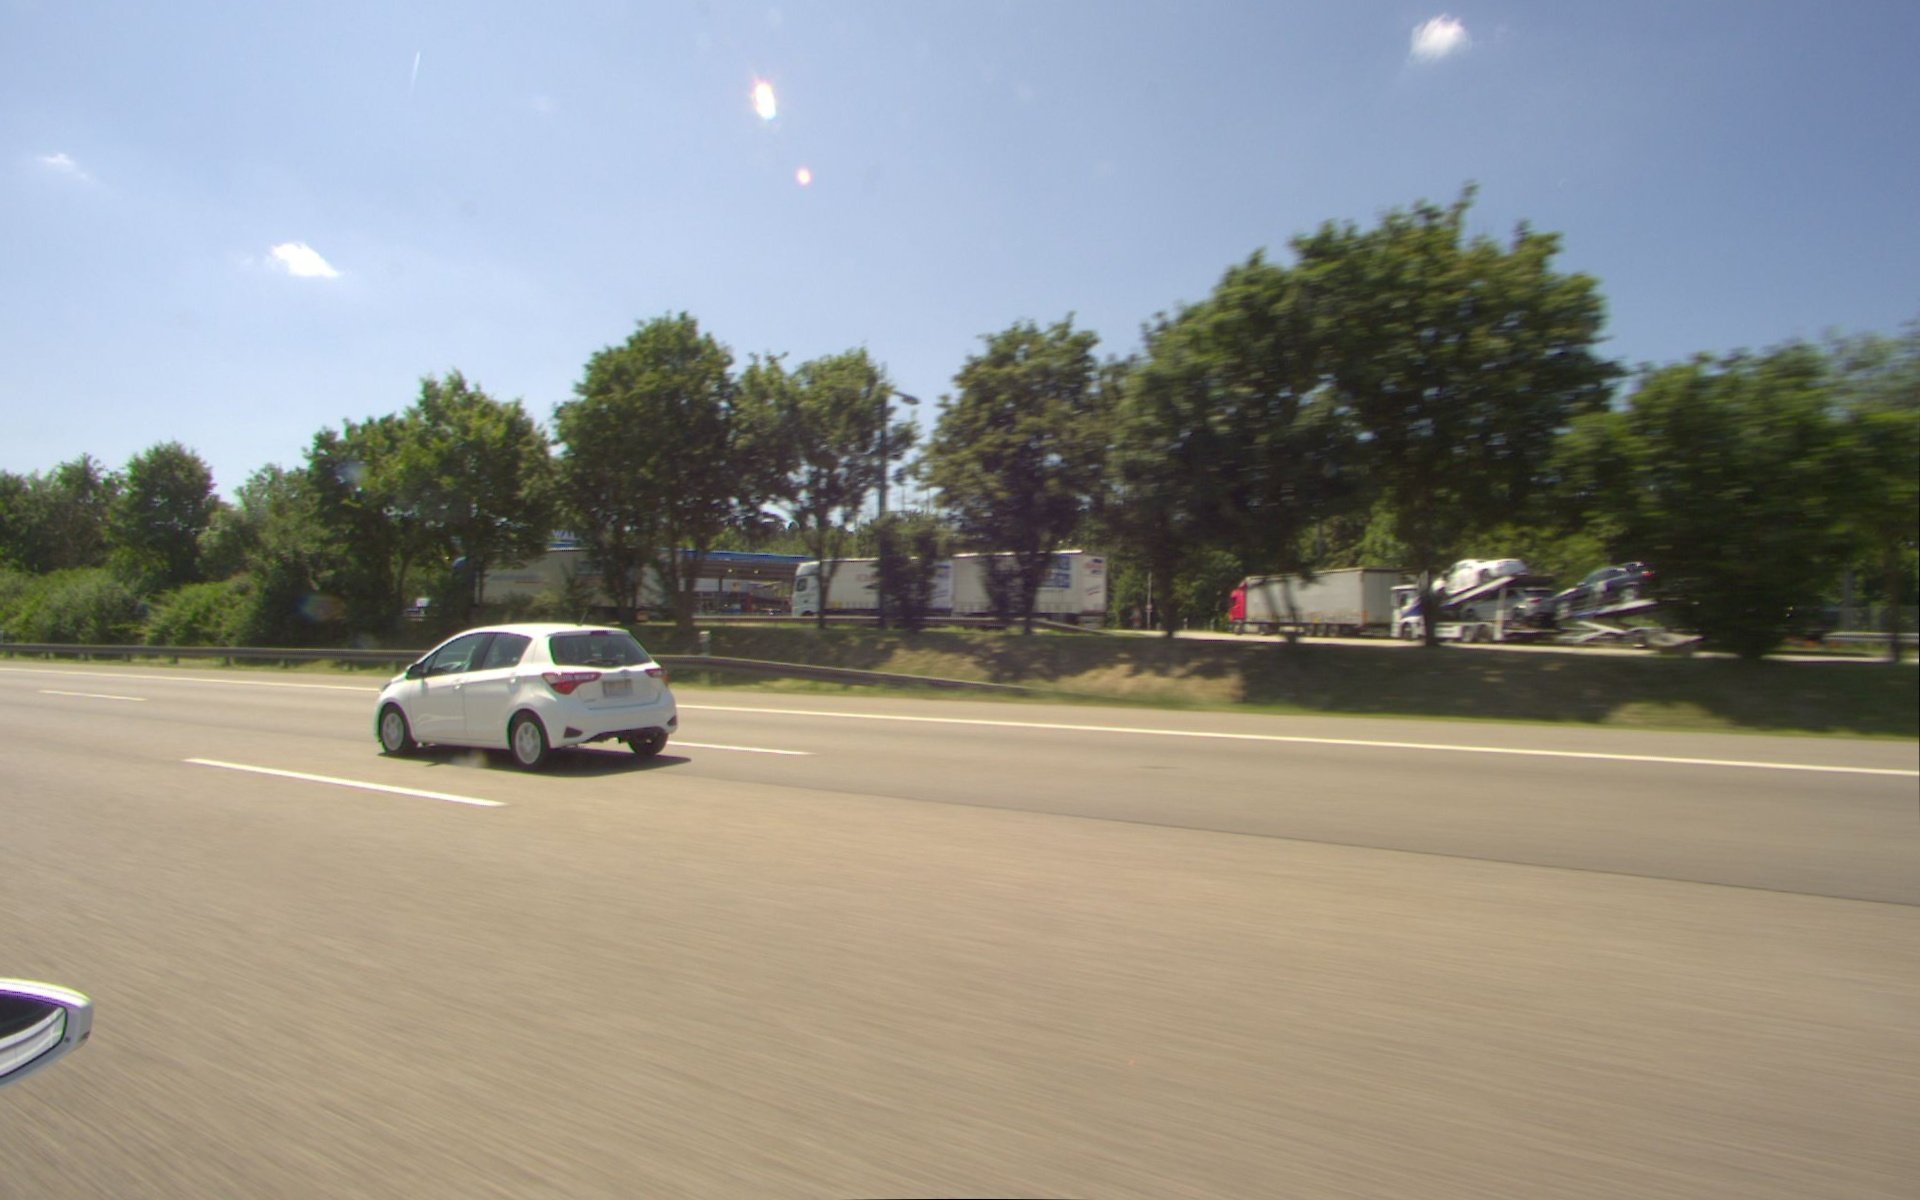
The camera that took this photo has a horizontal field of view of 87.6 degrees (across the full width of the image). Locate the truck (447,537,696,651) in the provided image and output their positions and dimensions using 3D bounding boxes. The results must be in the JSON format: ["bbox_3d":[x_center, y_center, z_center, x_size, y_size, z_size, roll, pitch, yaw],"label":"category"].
[{"bbox_3d":[-20.917,-0.040,53.035,16.157,5.387,3.513,-1,-2,33],"label":"truck"}]

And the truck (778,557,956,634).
[{"bbox_3d":[-5.265,-0.095,55.252,10.244,3.904,2.928,-2,-2,33],"label":"truck"}]

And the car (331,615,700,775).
[{"bbox_3d":[-5.223,0.971,11.592,4.419,1.538,1.747,-1,-1,32],"label":"car"}]

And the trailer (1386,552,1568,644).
[{"bbox_3d":[25.128,0.115,49.440,2.273,4.087,9.587,0,-2,-13],"label":"trailer"}]

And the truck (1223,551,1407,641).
[{"bbox_3d":[22.381,0.104,65.074,2.911,5.051,16.345,0,-2,-13],"label":"truck"}]

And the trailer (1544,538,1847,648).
[{"bbox_3d":[28.299,-0.031,39.422,2.206,3.764,10.096,0,-2,-20],"label":"trailer"}]

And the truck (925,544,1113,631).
[{"bbox_3d":[2.805,-0.452,49.958,9.133,3.926,2.960,-1,-2,33],"label":"truck"}]
